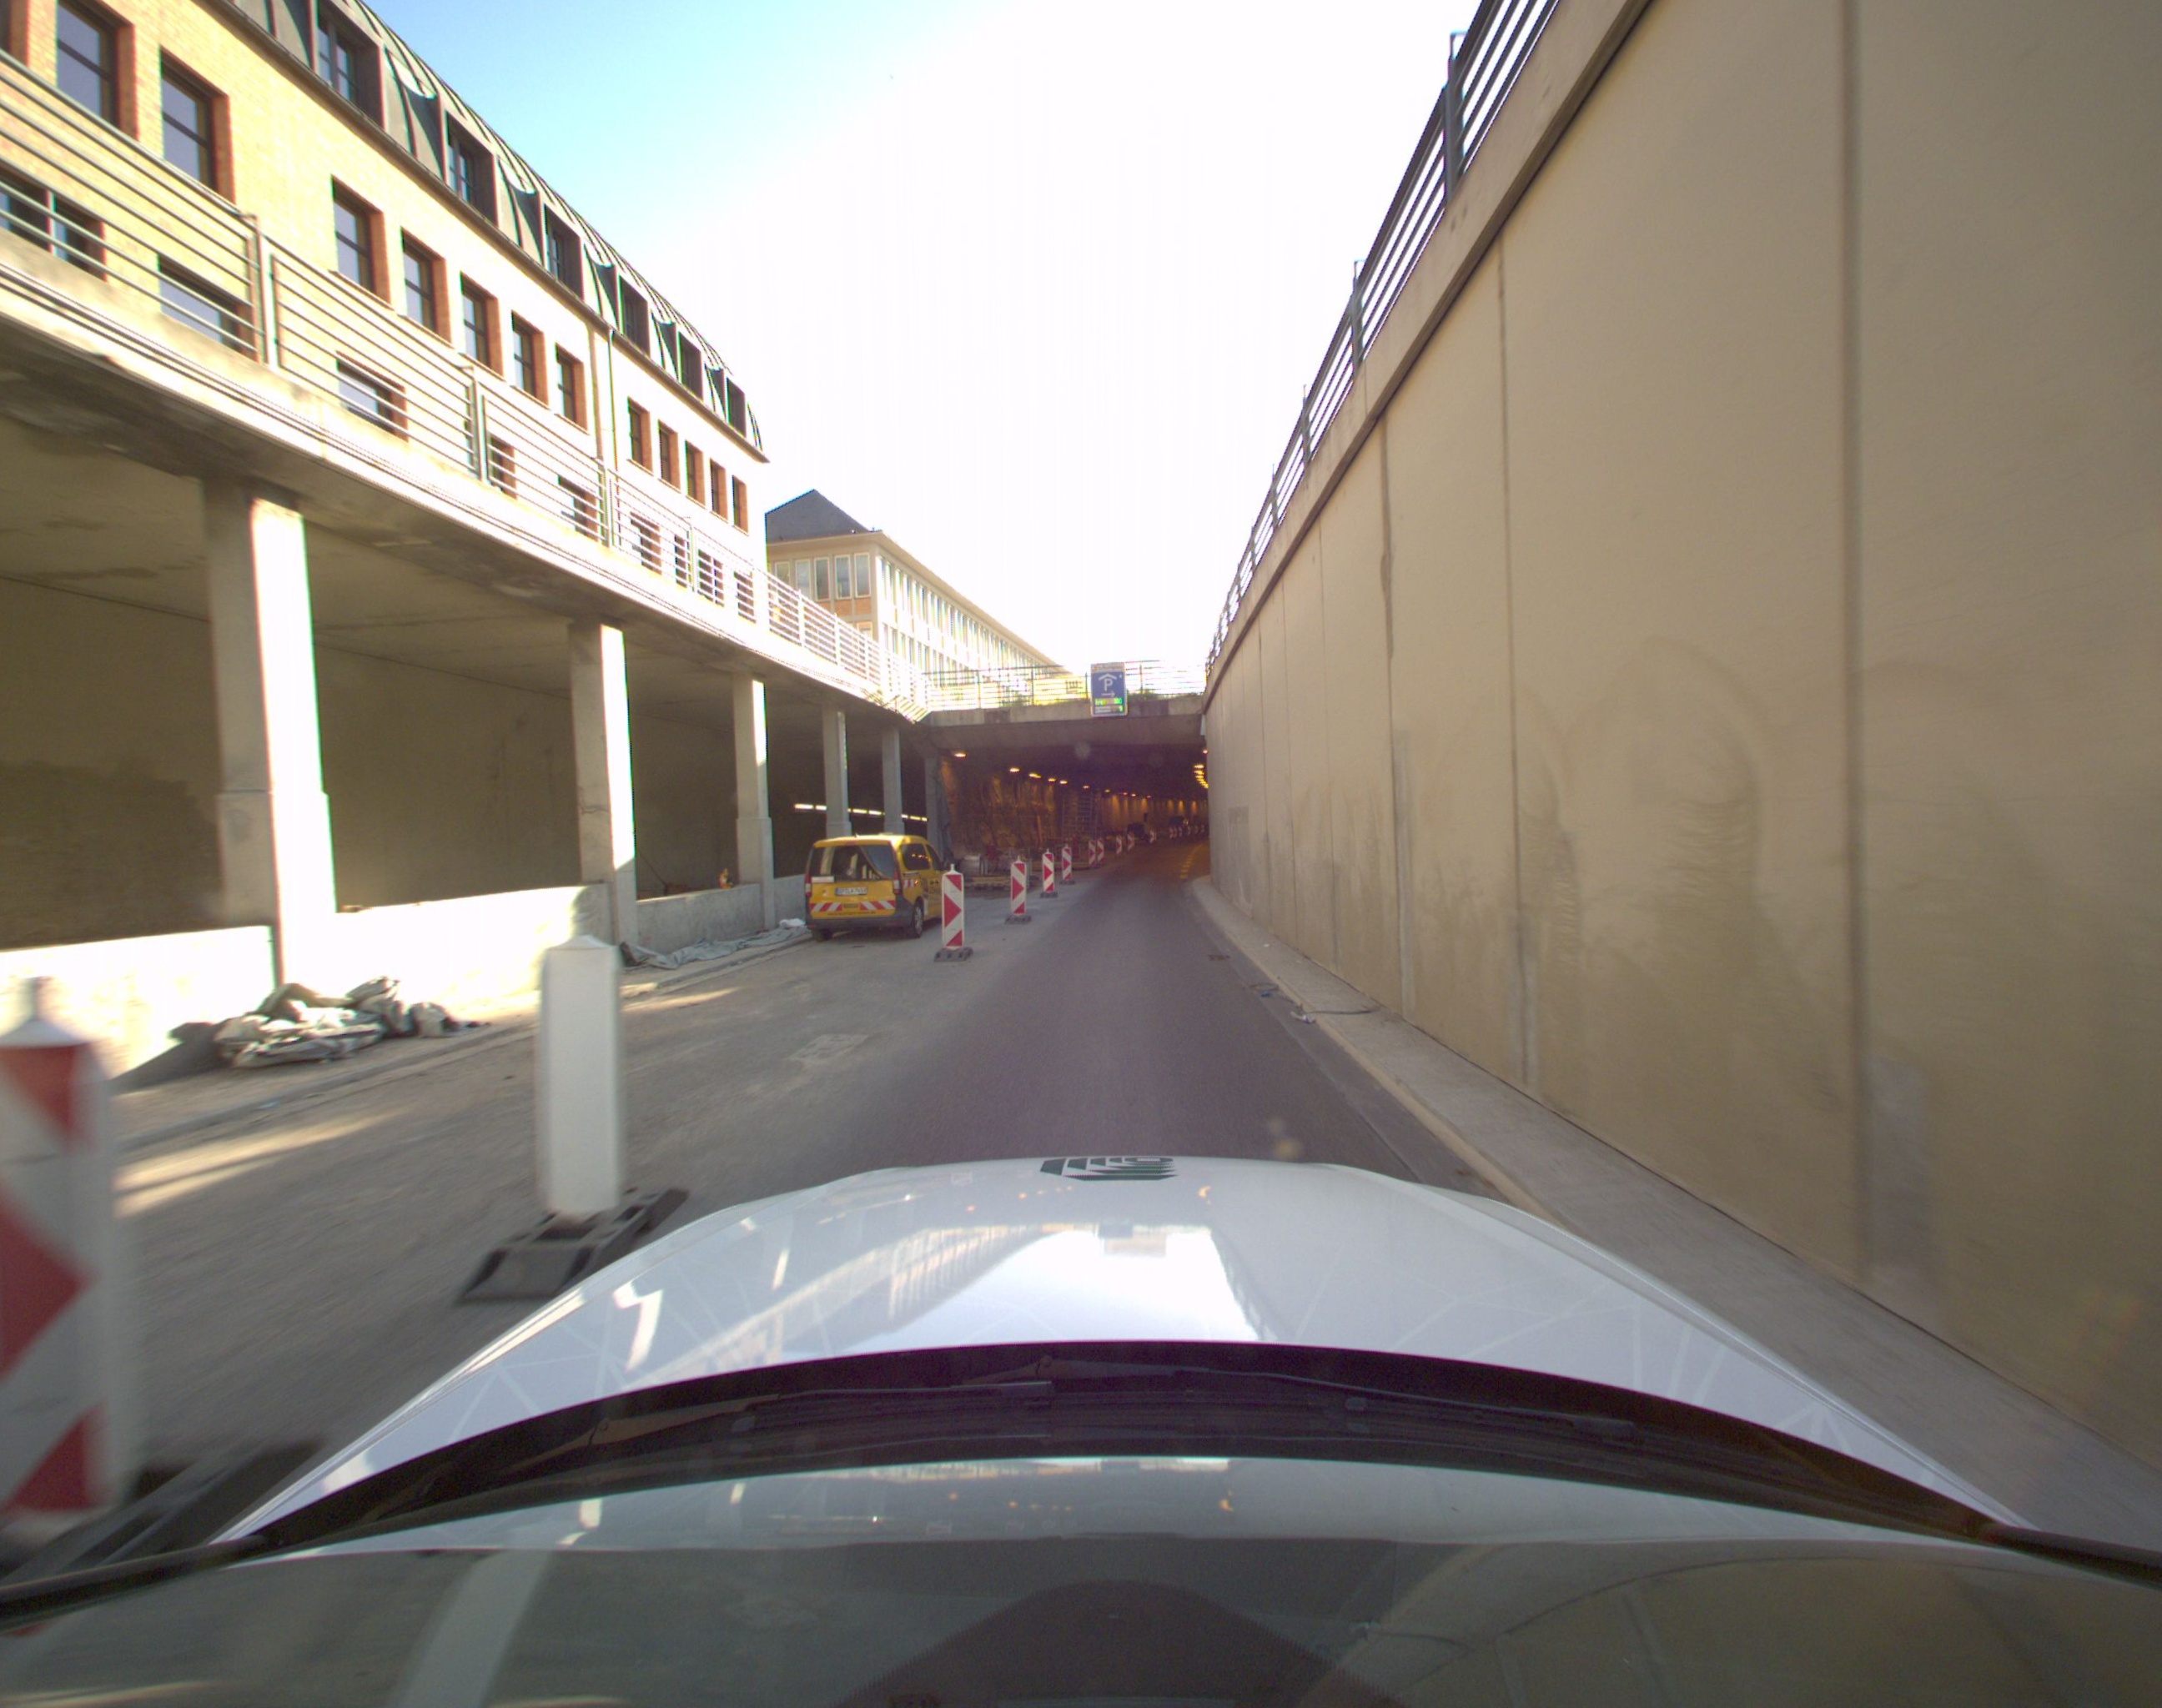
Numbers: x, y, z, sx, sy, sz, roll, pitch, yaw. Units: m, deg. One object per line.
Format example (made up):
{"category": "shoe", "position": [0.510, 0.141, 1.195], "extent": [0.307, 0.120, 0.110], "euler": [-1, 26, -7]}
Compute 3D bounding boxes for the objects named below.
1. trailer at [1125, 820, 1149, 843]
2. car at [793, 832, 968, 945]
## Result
{"category": "trailer", "position": [4.559, -1.794, 65.554], "extent": [1.570, 1.797, 2.949], "euler": [0, 2, 11]}
{"category": "car", "position": [-3.524, 0.497, 15.265], "extent": [1.840, 1.775, 4.440], "euler": [-1, 2, 4]}
